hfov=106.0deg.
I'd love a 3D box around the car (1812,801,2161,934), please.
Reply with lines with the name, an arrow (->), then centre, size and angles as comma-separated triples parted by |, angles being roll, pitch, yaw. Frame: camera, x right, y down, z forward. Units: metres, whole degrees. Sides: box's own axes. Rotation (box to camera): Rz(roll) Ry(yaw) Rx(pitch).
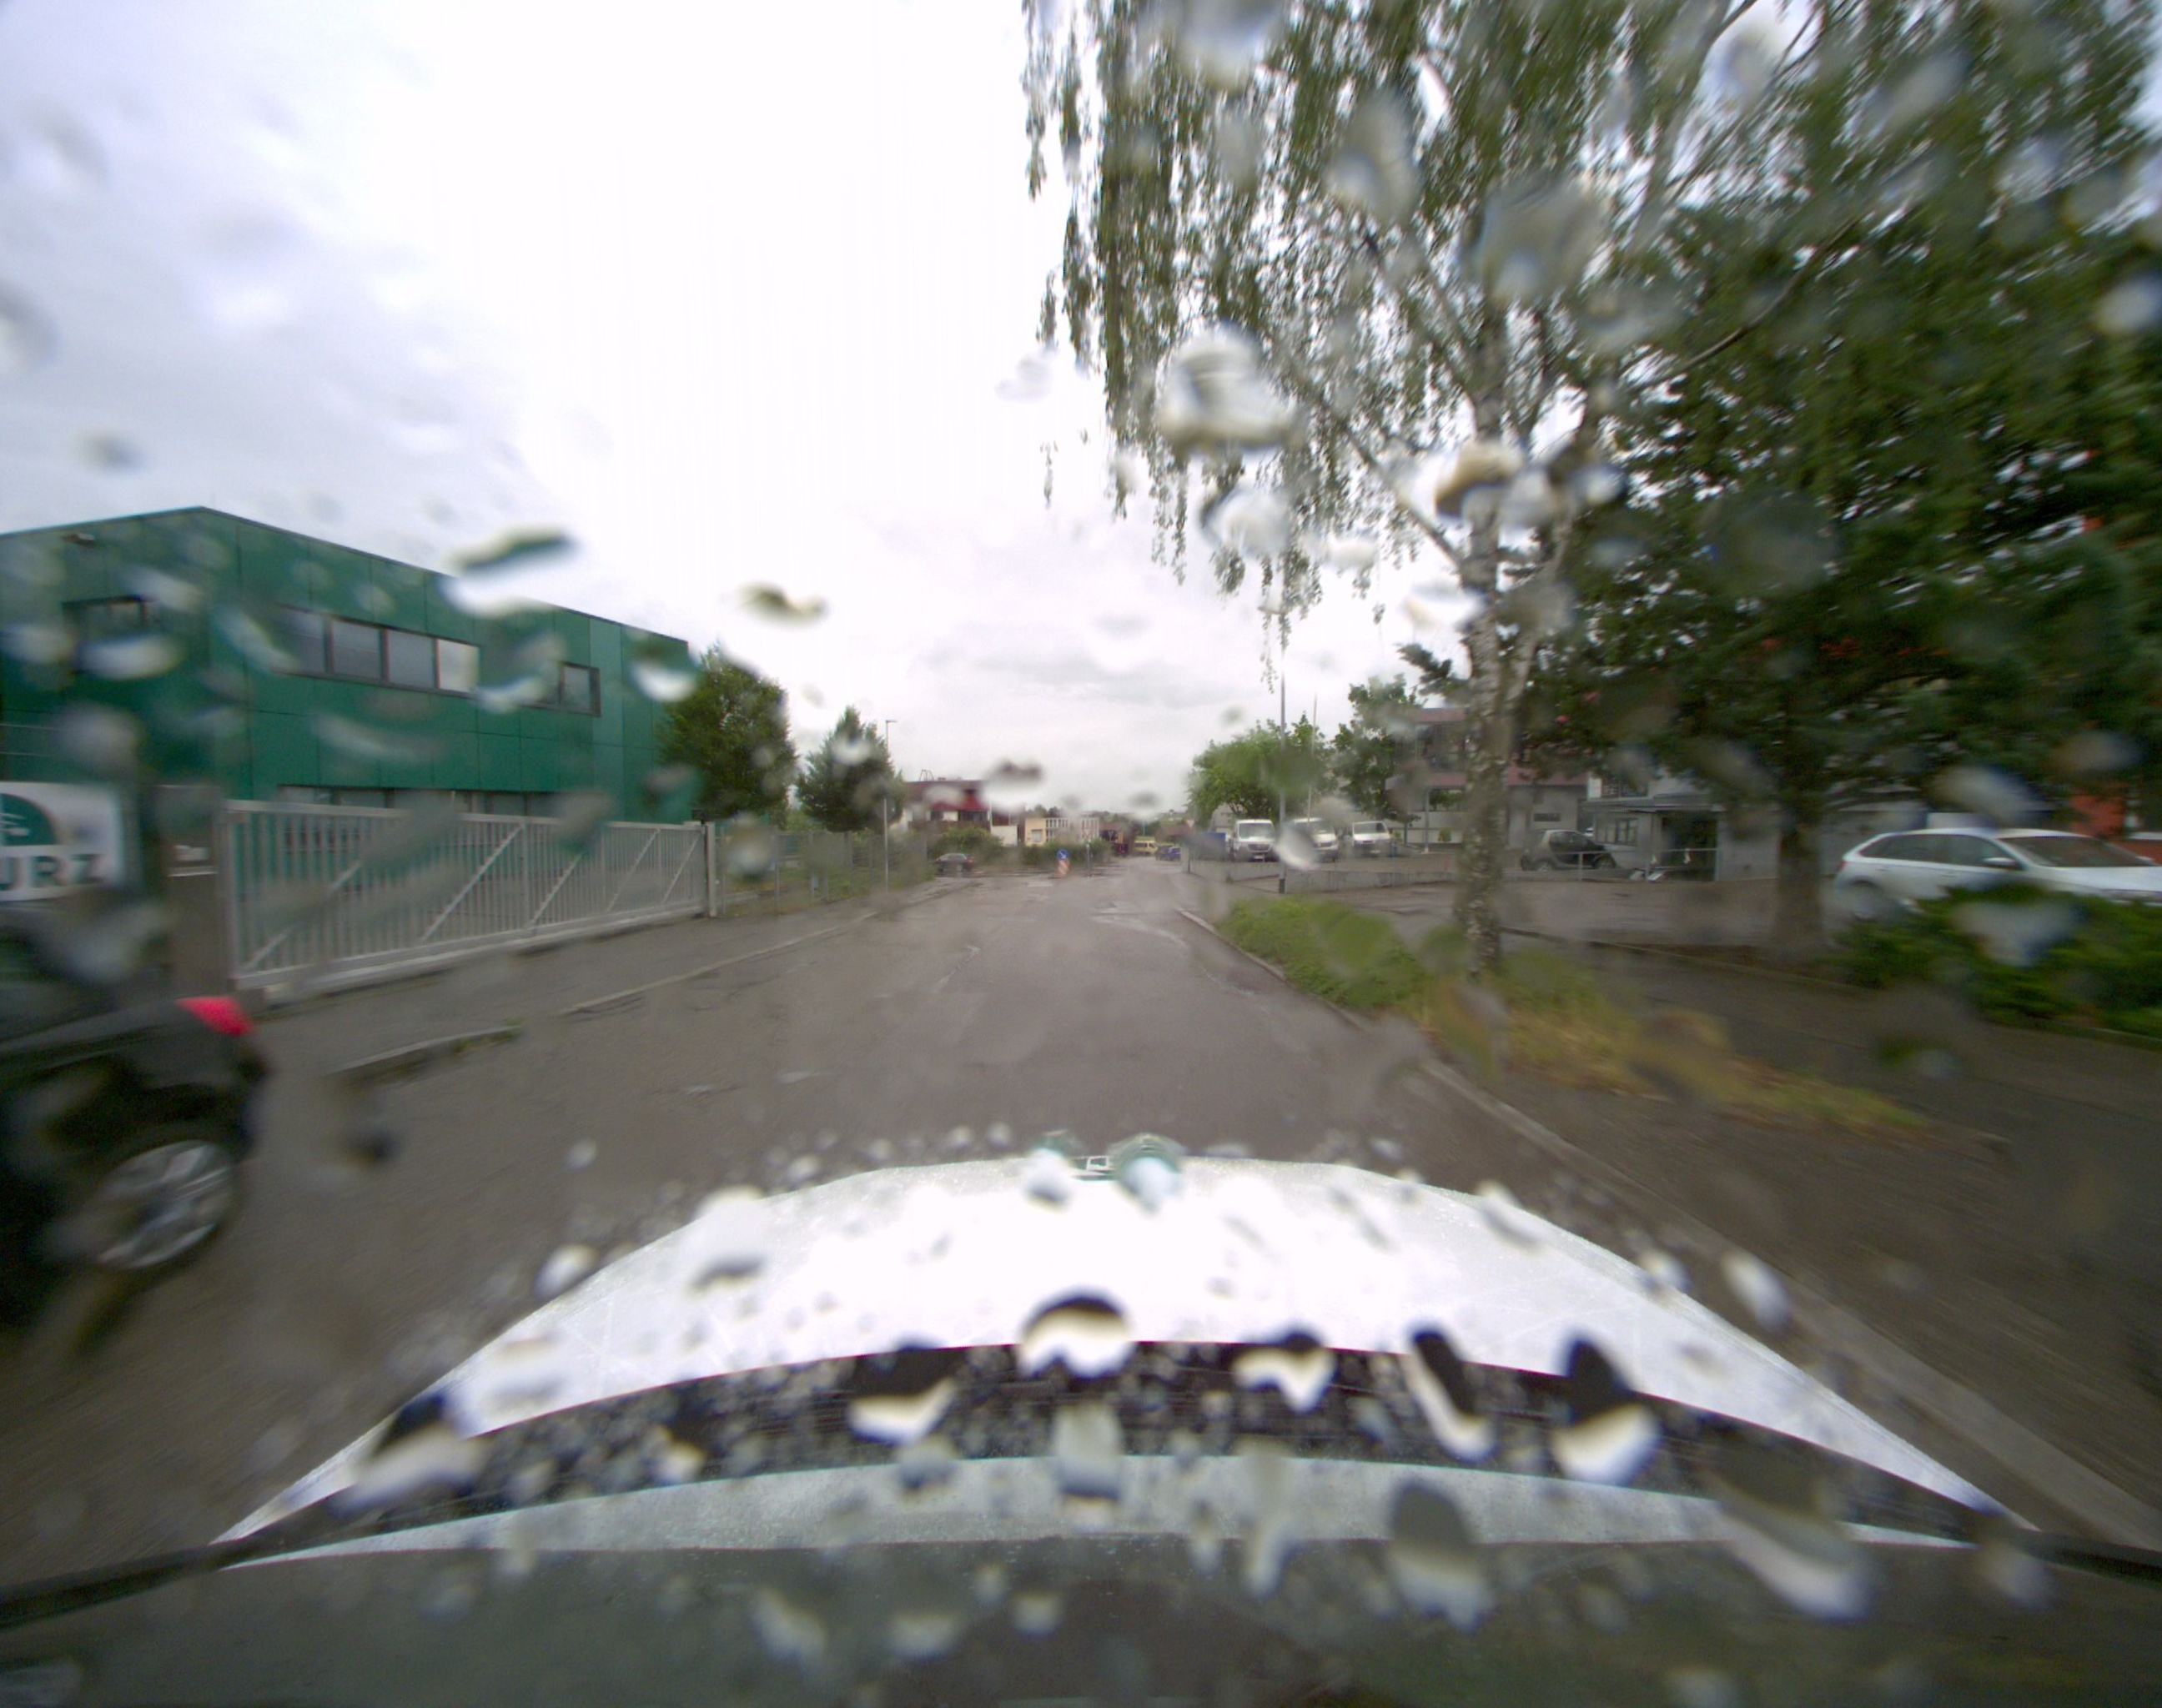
car -> 12.891, 0.113, 11.206 | 1.896, 1.470, 4.332 | -1, 0, 3

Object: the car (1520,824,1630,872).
car -> 16.129, -0.188, 26.713 | 2.693, 1.446, 1.684 | -1, 0, 13

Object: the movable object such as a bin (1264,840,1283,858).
movable object such as a bin -> 11.029, -0.285, 46.772 | 1.042, 1.042, 0.887 | -1, 0, 12

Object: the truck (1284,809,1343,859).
truck -> 11.731, -0.962, 41.430 | 2.230, 2.342, 4.848 | -1, 0, 8

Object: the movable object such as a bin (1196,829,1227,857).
movable object such as a bin -> 7.148, -0.590, 44.794 | 1.304, 1.500, 1.856 | -1, 0, -4

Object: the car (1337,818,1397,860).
car -> 14.605, -0.713, 41.864 | 2.044, 2.013, 4.951 | -1, 0, 9

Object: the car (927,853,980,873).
car -> -10.565, 0.744, 67.732 | 3.956, 1.534, 1.769 | -1, 0, 16

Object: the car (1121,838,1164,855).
car -> 9.356, -1.148, 124.020 | 5.956, 2.415, 2.477 | -1, 0, 23

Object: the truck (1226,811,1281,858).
truck -> 8.840, -0.937, 42.190 | 2.095, 2.214, 5.661 | -1, 0, 5

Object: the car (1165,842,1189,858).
car -> 10.360, -0.439, 88.113 | 1.947, 1.610, 4.442 | -1, 0, -3

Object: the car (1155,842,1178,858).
car -> 9.896, -0.425, 94.841 | 2.068, 1.835, 4.468 | -1, 0, -1

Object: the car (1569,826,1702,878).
car -> 21.978, -0.120, 32.461 | 3.897, 1.737, 1.866 | 5, 3, 14

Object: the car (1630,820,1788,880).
car -> 17.146, -0.107, 22.358 | 3.015, 1.495, 1.635 | -2, 0, 10

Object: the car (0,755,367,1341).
car -> -4.210, 0.604, 1.780 | 1.733, 1.797, 3.960 | -1, 0, 1

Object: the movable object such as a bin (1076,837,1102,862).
movable object such as a bin -> 0.797, -0.437, 83.382 | 1.719, 2.556, 3.355 | -1, 0, 17

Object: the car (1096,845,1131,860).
car -> 4.187, -0.215, 106.590 | 2.012, 1.905, 4.355 | 0, 0, -45
